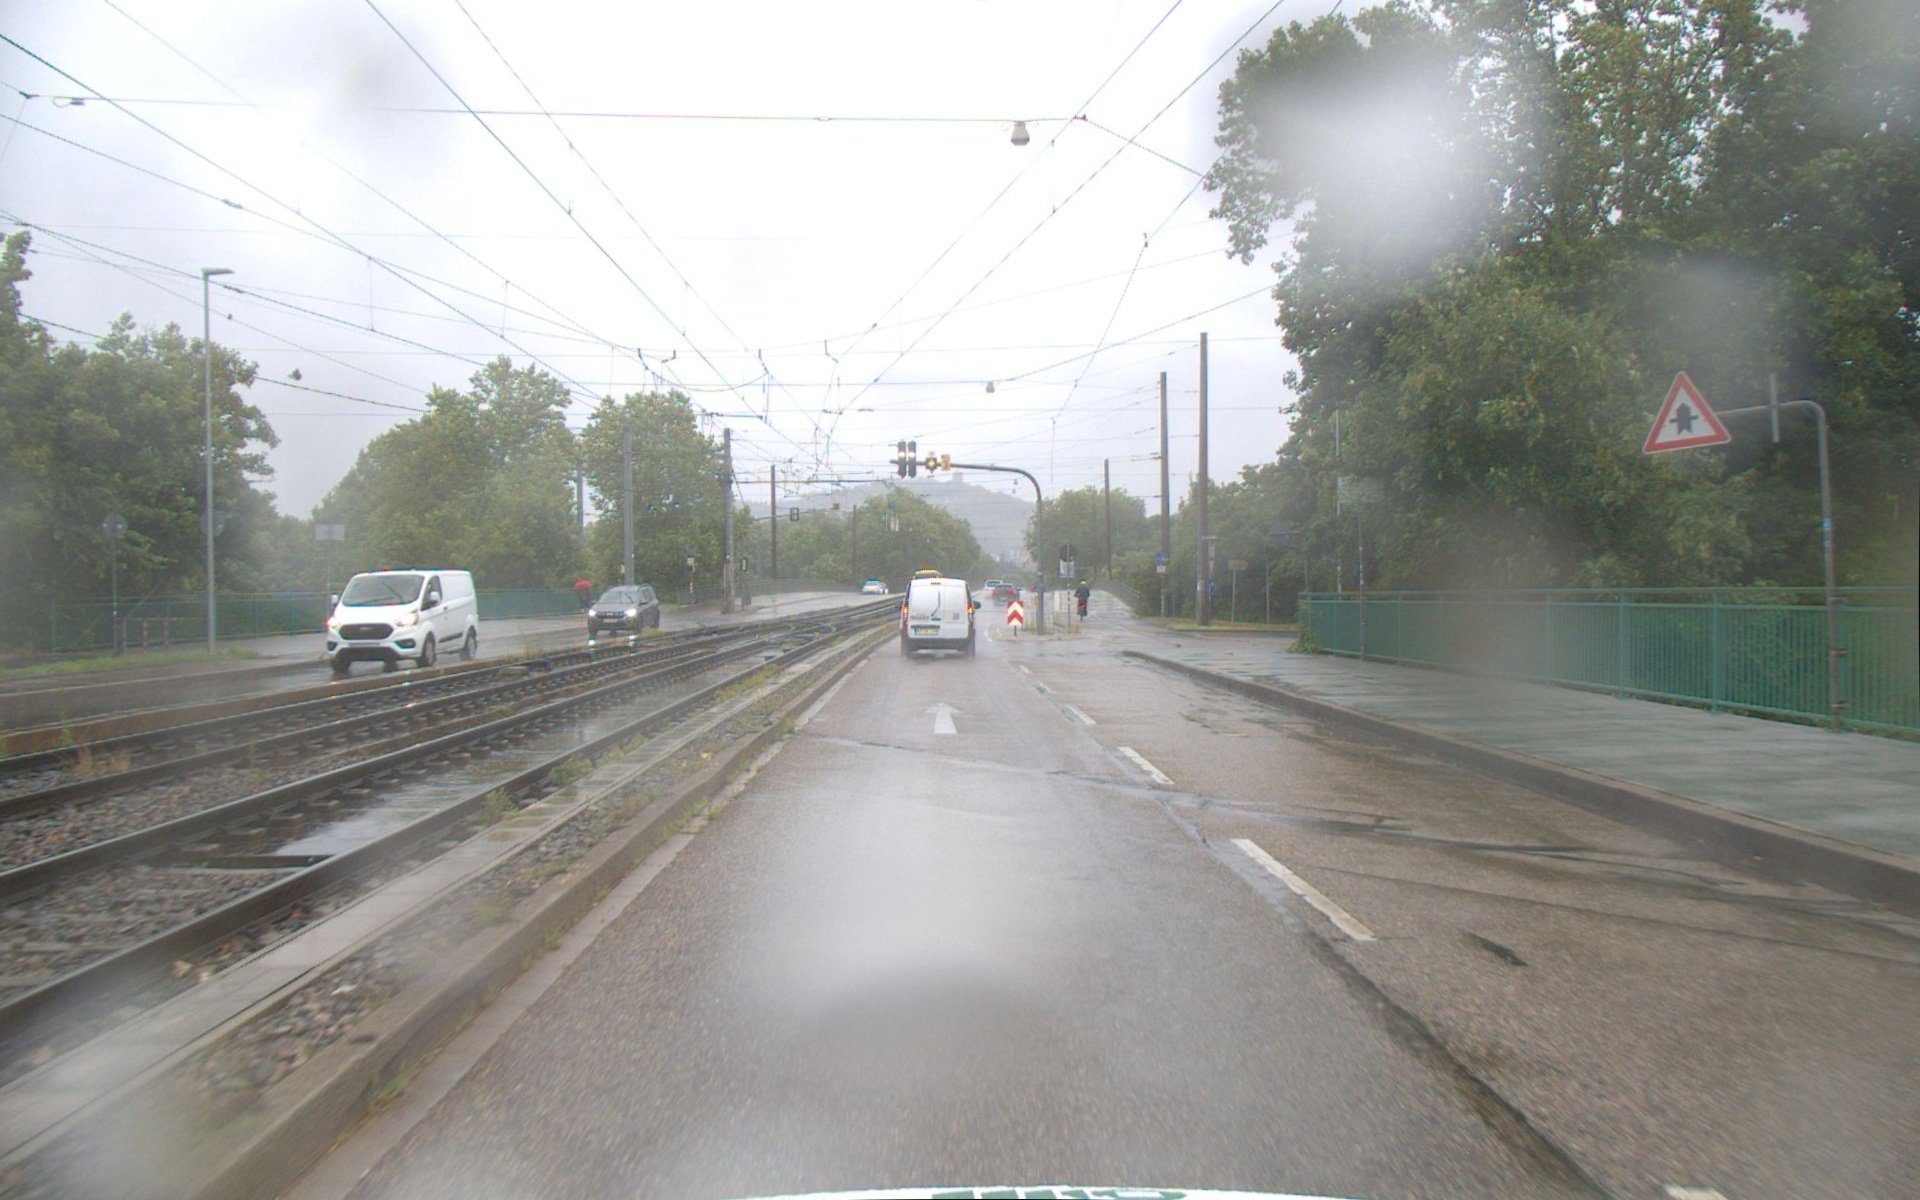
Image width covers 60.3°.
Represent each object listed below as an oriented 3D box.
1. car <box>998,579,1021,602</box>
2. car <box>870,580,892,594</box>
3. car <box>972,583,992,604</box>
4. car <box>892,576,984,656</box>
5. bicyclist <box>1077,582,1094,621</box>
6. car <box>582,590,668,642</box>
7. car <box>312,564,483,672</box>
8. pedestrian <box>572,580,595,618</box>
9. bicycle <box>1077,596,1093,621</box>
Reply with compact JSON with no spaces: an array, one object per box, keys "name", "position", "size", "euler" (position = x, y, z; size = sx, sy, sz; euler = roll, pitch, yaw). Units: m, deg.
[{"name":"car","position":[3.351,-0.628,112.392],"size":[1.421,1.525,2.981],"euler":[1,0,-1]},{"name":"car","position":[-8.265,-1.327,172.716],"size":[1.894,1.252,4.102],"euler":[-2,2,3]},{"name":"car","position":[1.668,-0.486,127.517],"size":[1.421,1.525,2.981],"euler":[1,0,-1]},{"name":"car","position":[-0.456,0.359,39.047],"size":[1.952,1.756,4.001],"euler":[1,0,2]},{"name":"bicyclist","position":[5.842,0.082,77.102],"size":[0.710,1.794,0.949],"euler":[1,-1,3]},{"name":"car","position":[-11.543,0.511,57.314],"size":[1.953,1.677,5.370],"euler":[1,0,-1]},{"name":"car","position":[-11.781,0.344,35.026],"size":[1.953,2.079,5.027],"euler":[1,0,-1]},{"name":"pedestrian","position":[-18.737,-0.051,82.389],"size":[0.846,1.850,1.043],"euler":[1,0,1]},{"name":"bicycle","position":[5.822,0.382,77.089],"size":[0.708,1.148,2.169],"euler":[1,1,3]}]
